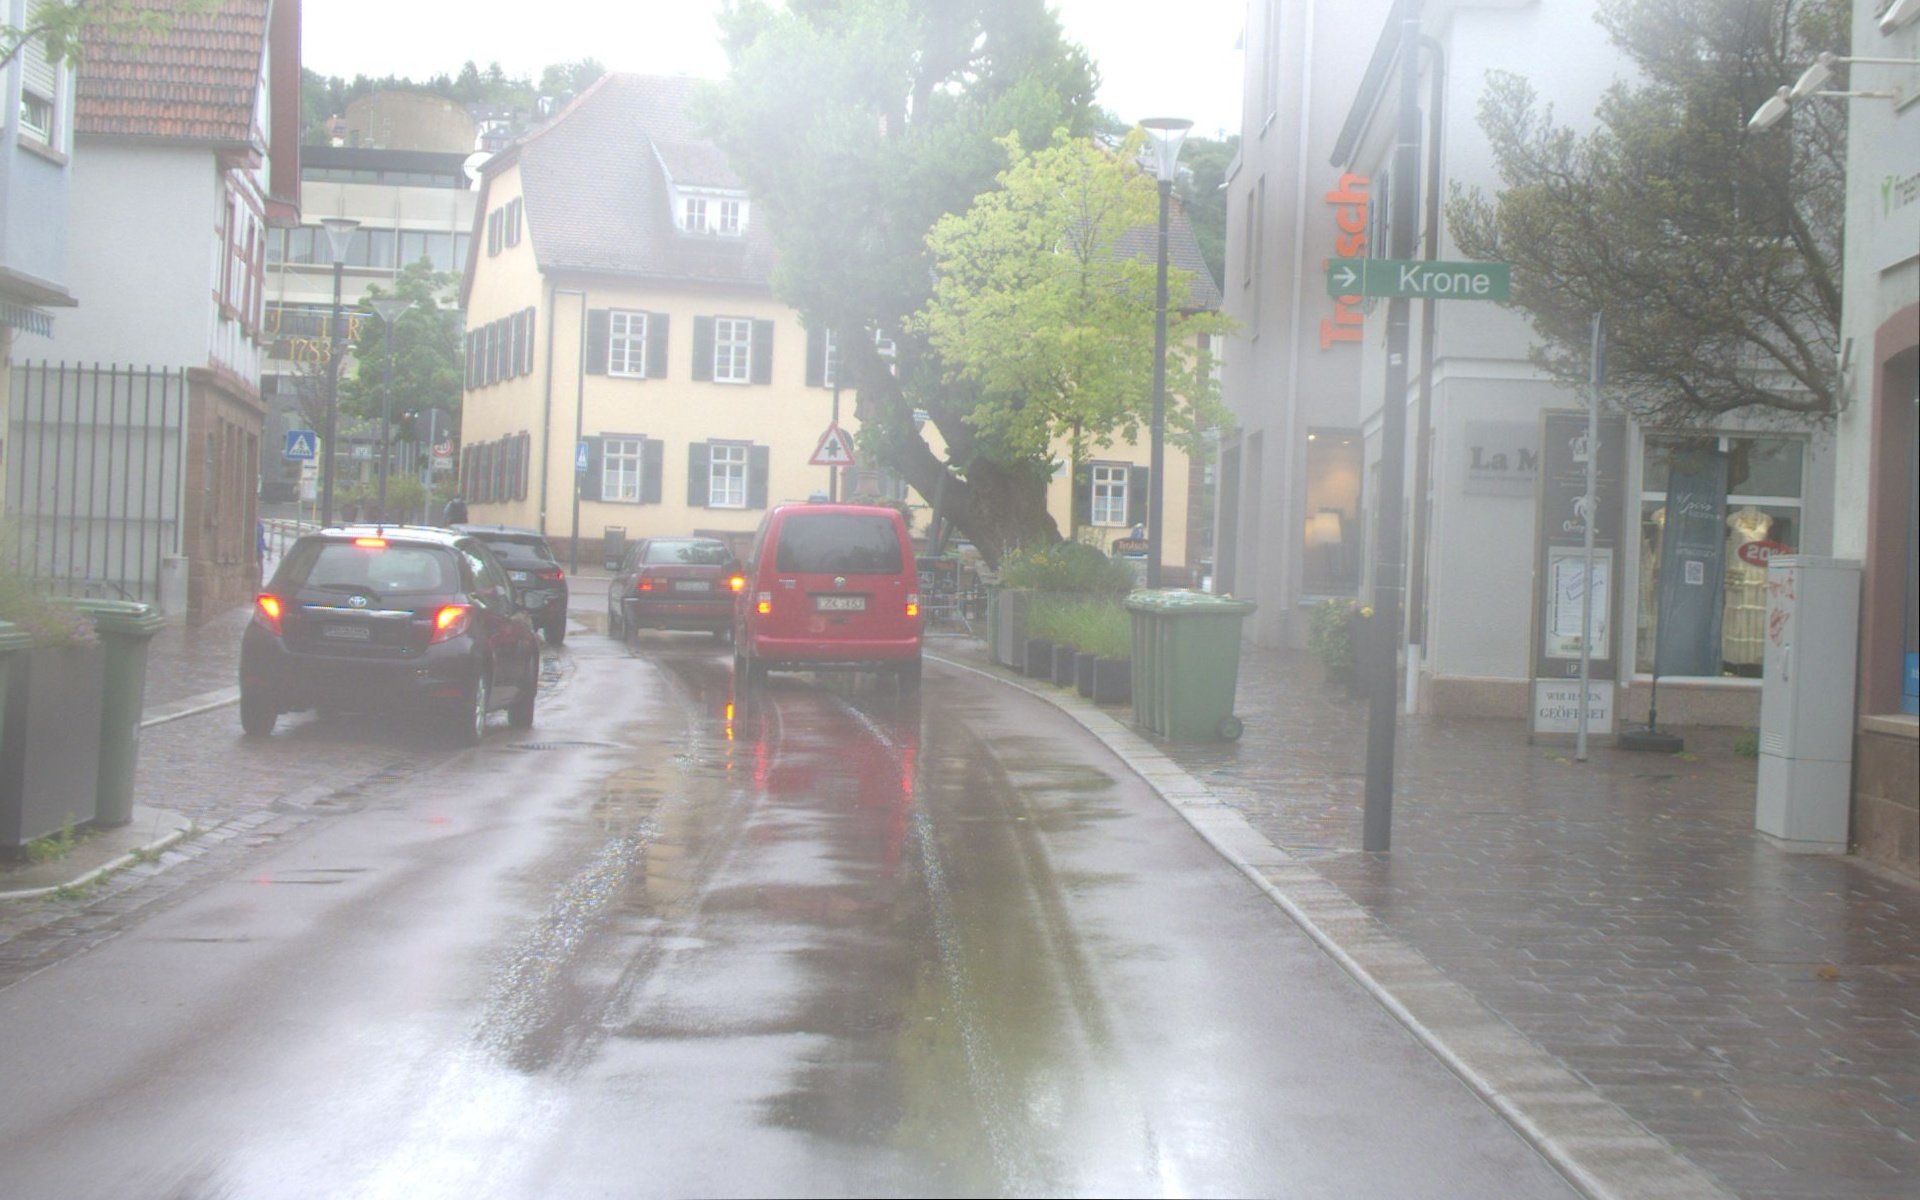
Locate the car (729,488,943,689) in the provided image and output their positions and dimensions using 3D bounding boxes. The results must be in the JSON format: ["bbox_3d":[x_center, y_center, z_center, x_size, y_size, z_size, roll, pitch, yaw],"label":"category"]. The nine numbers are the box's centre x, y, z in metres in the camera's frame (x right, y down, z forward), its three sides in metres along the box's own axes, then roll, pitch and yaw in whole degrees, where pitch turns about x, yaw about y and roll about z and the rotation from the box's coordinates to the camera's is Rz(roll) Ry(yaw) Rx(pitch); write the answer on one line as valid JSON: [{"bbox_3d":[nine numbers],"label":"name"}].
[{"bbox_3d":[-1.328,-0.177,35.128,1.894,1.805,4.001,4,2,-5],"label":"car"}]

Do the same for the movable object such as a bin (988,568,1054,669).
[{"bbox_3d":[0.707,0.217,40.178,0.631,1.146,0.580,3,-1,-8],"label":"movable object such as a bin"}]

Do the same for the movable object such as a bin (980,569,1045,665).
[{"bbox_3d":[0.616,0.205,40.749,0.631,1.100,0.580,3,-1,-8],"label":"movable object such as a bin"}]

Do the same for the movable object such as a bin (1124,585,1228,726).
[{"bbox_3d":[1.735,0.446,27.700,0.735,1.094,0.611,3,-1,-1],"label":"movable object such as a bin"}]

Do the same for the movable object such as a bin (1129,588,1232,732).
[{"bbox_3d":[1.735,0.473,27.092,0.729,1.087,0.521,3,-1,0],"label":"movable object such as a bin"}]

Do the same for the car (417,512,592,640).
[{"bbox_3d":[-6.087,-0.352,45.610,1.787,1.490,4.002,3,1,-14],"label":"car"}]

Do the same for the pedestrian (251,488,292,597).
[{"bbox_3d":[-11.008,-0.921,54.949,0.518,1.705,0.578,3,-1,-8],"label":"pedestrian"}]

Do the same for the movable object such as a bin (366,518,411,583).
[{"bbox_3d":[-10.093,-0.870,60.755,0.714,1.102,0.600,3,-1,-10],"label":"movable object such as a bin"}]

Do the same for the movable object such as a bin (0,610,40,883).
[{"bbox_3d":[-4.243,0.580,13.951,0.786,1.081,0.693,4,2,-2],"label":"movable object such as a bin"}]

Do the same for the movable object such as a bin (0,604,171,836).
[{"bbox_3d":[-4.237,0.563,16.426,0.709,1.049,0.704,3,-1,0],"label":"movable object such as a bin"}]

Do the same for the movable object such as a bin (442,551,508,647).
[{"bbox_3d":[-5.850,-0.013,41.487,0.725,1.106,0.597,3,-1,-8],"label":"movable object such as a bin"}]

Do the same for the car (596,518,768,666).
[{"bbox_3d":[-3.787,-0.096,46.275,1.993,1.793,4.001,3,-1,-8],"label":"car"}]

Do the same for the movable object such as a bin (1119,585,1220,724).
[{"bbox_3d":[1.718,0.445,28.304,0.735,1.094,0.611,3,-1,-1],"label":"movable object such as a bin"}]

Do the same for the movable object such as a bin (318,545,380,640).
[{"bbox_3d":[-7.433,-0.089,41.842,0.659,1.106,0.616,3,-1,-8],"label":"movable object such as a bin"}]

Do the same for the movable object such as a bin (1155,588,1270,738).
[{"bbox_3d":[1.890,0.471,25.838,0.768,1.076,0.599,3,-1,0],"label":"movable object such as a bin"}]

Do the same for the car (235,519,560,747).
[{"bbox_3d":[-4.068,0.180,25.426,1.692,1.438,3.885,3,2,0],"label":"car"}]

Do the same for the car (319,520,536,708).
[{"bbox_3d":[-4.811,0.079,31.343,1.756,1.469,3.945,3,2,-8],"label":"car"}]

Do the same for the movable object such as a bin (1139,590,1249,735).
[{"bbox_3d":[1.795,0.477,26.471,0.754,1.060,0.600,3,-1,0],"label":"movable object such as a bin"}]
